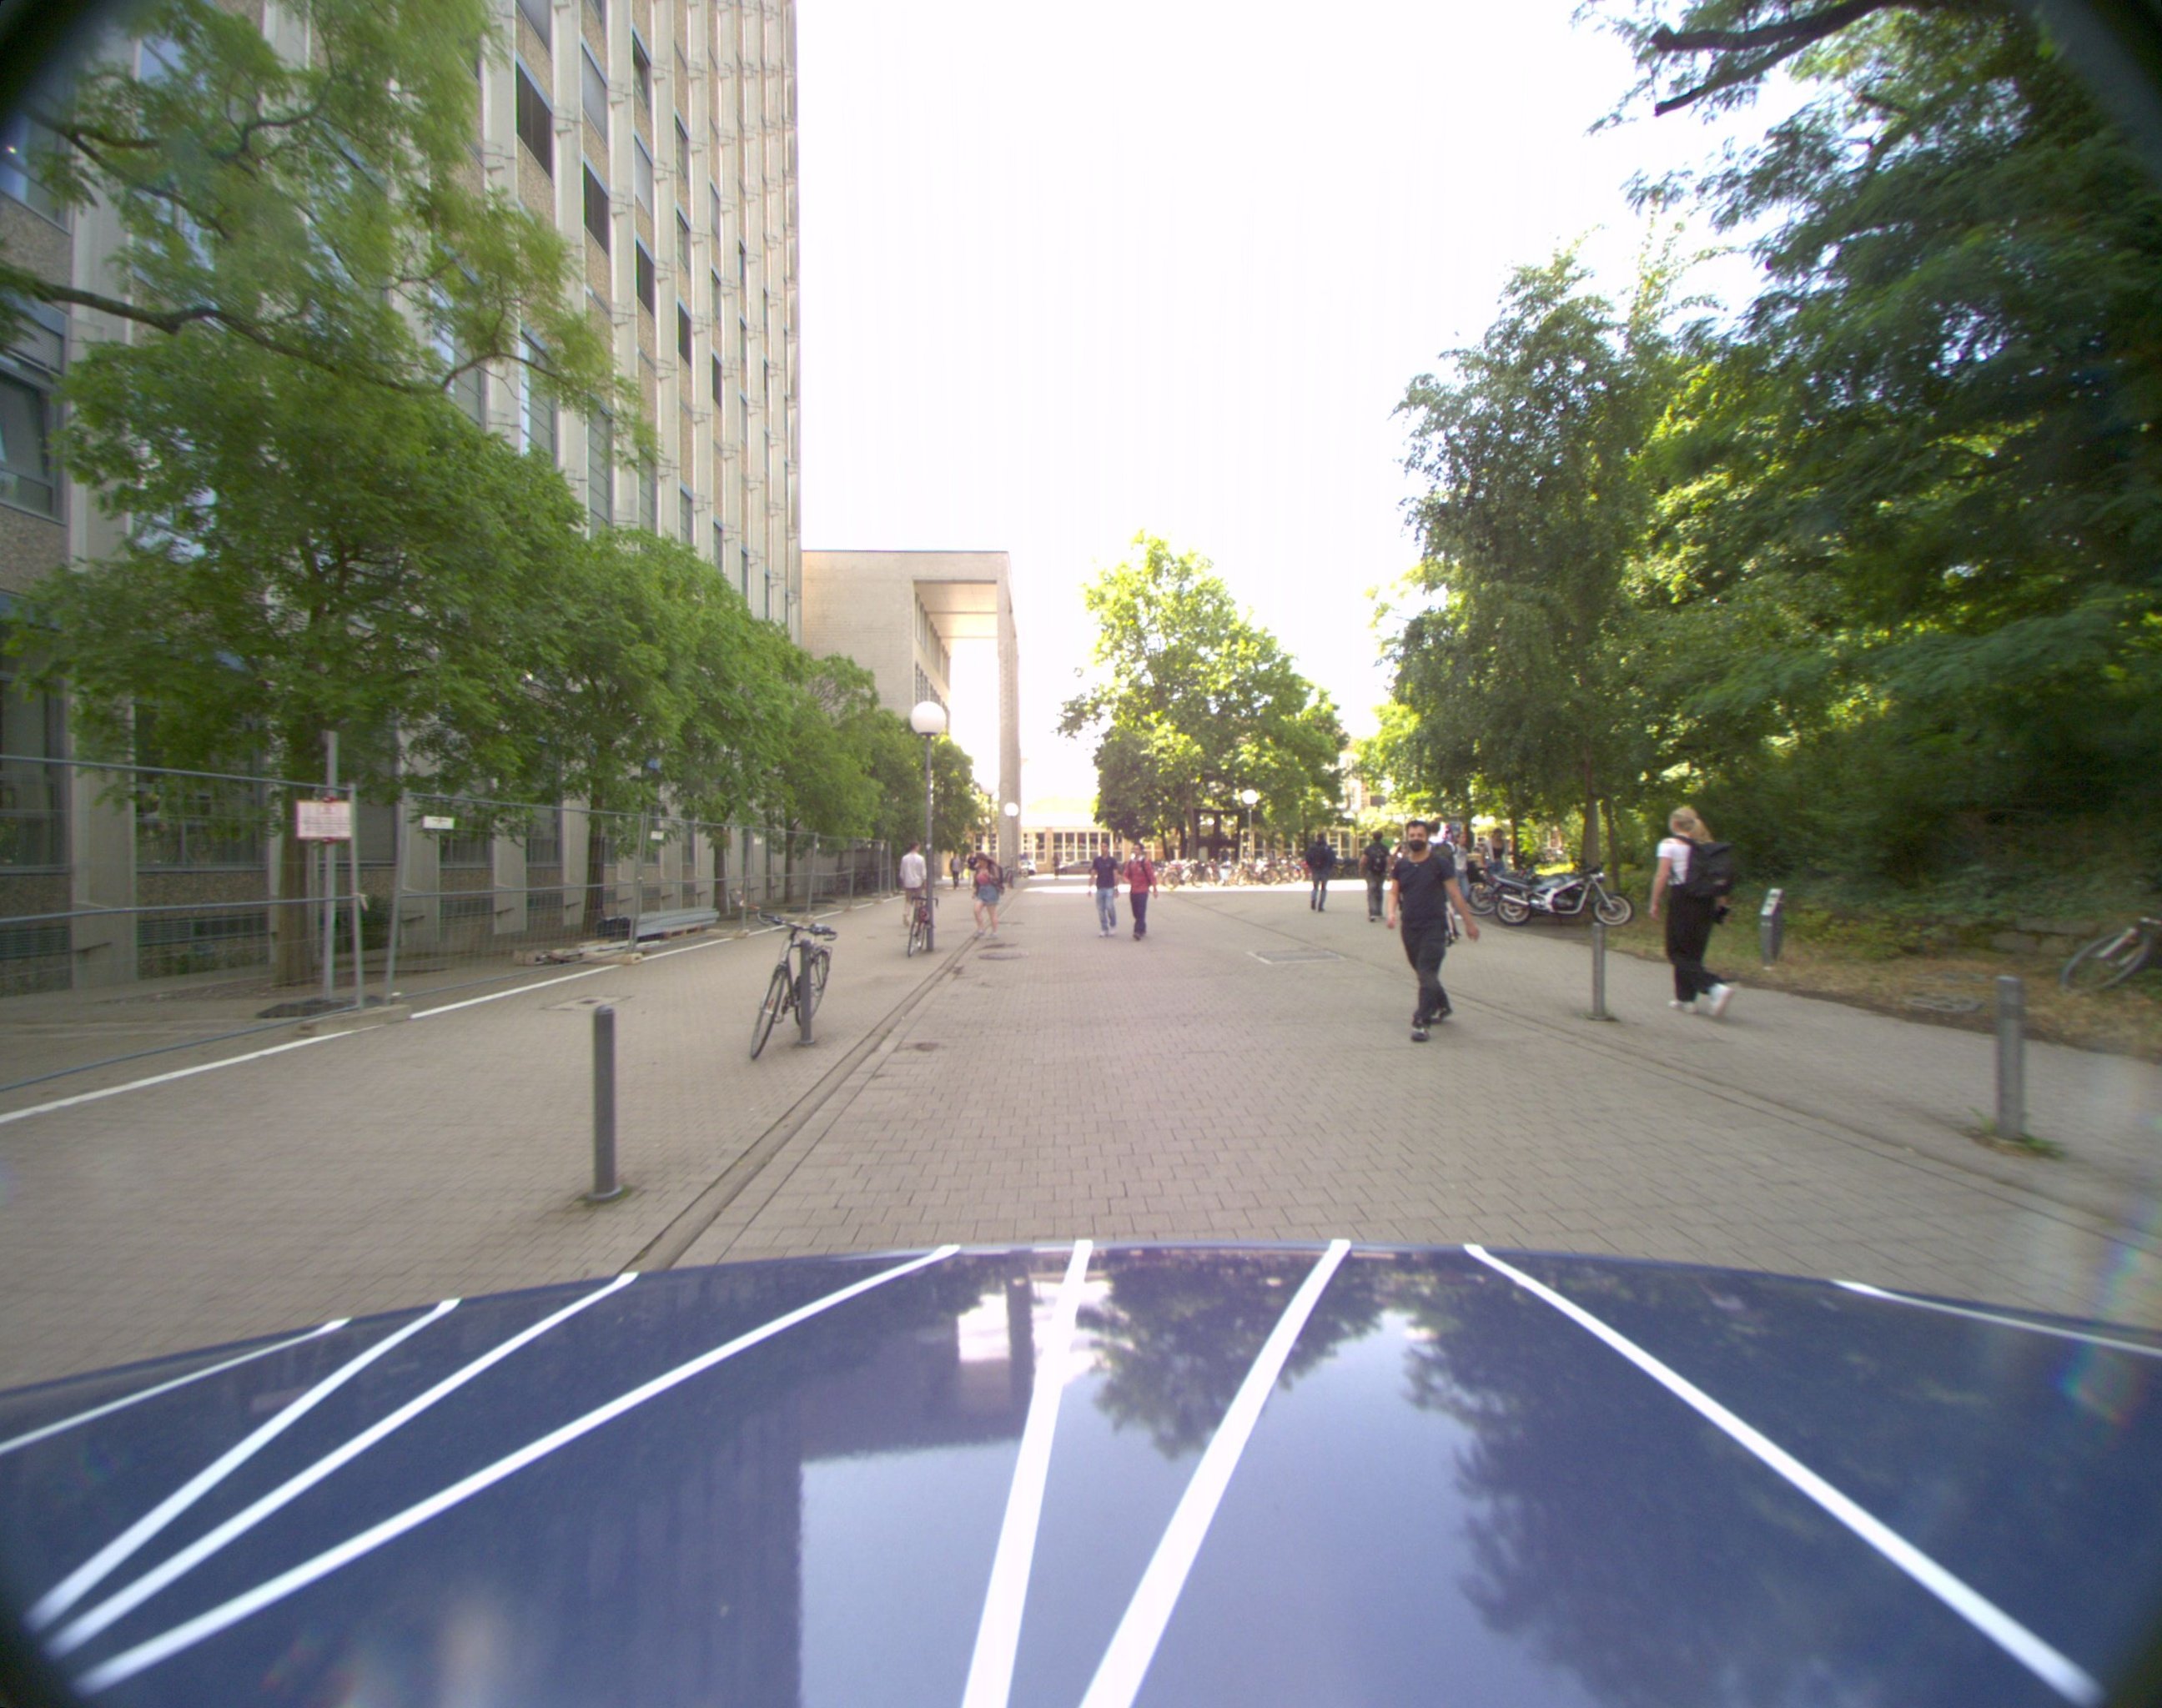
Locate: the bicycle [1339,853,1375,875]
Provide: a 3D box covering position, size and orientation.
[{"bbox_3d":[14.245,0.510,39.237,1.695,1.077,0.475,-1,1,41],"label":"bicycle"}]

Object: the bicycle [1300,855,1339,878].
[{"bbox_3d":[11.403,0.588,36.291,1.695,1.077,0.475,-1,1,33],"label":"bicycle"}]

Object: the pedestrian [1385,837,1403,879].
[{"bbox_3d":[13.871,0.166,33.676,0.612,1.825,1.052,-1,1,29],"label":"pedestrian"}]

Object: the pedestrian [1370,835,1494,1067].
[{"bbox_3d":[2.866,0.718,6.173,0.684,1.714,0.906,-2,1,38],"label":"pedestrian"}]

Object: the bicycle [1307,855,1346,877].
[{"bbox_3d":[12.026,0.593,37.219,1.695,1.077,0.475,-1,1,33],"label":"bicycle"}]

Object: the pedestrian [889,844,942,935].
[{"bbox_3d":[-3.532,0.729,16.168,0.787,1.834,1.115,-3,1,-26],"label":"pedestrian"}]

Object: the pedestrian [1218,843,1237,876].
[{"bbox_3d":[8.137,0.306,42.199,0.771,1.796,0.708,-2,1,-35],"label":"pedestrian"}]

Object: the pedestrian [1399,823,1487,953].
[{"bbox_3d":[5.494,0.480,11.591,0.726,1.871,1.081,-2,1,-6],"label":"pedestrian"}]

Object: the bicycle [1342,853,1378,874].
[{"bbox_3d":[14.567,0.481,39.662,1.695,1.077,0.475,-1,1,41],"label":"bicycle"}]

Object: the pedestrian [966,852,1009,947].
[{"bbox_3d":[-1.732,0.828,14.205,0.686,1.714,0.731,-2,1,-4],"label":"pedestrian"}]

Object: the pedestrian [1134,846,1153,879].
[{"bbox_3d":[3.165,0.426,38.511,0.768,1.670,0.908,-1,0,17],"label":"pedestrian"}]

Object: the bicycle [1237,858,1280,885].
[{"bbox_3d":[7.383,0.737,31.667,1.696,1.077,0.475,-1,1,18],"label":"bicycle"}]

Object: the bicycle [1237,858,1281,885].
[{"bbox_3d":[7.315,0.726,31.150,1.696,1.077,0.475,-1,1,18],"label":"bicycle"}]

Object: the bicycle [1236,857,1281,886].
[{"bbox_3d":[7.036,0.699,30.109,1.697,1.104,0.474,-1,1,10],"label":"bicycle"}]

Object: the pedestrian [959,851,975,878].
[{"bbox_3d":[-7.861,0.703,52.240,0.960,1.803,0.769,-2,1,-12],"label":"pedestrian"}]

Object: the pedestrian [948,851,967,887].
[{"bbox_3d":[-5.789,0.705,35.669,0.703,1.645,0.881,-1,0,-20],"label":"pedestrian"}]

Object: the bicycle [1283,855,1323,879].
[{"bbox_3d":[10.234,0.589,35.089,1.695,1.077,0.475,-1,1,33],"label":"bicycle"}]

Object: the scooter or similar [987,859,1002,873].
[{"bbox_3d":[-6.854,0.958,60.226,1.157,1.144,0.444,-1,0,3],"label":"scooter or similar"}]

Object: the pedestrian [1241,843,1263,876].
[{"bbox_3d":[8.950,0.306,39.761,0.904,1.693,0.771,-1,1,35],"label":"pedestrian"}]

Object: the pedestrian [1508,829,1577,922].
[{"bbox_3d":[8.834,0.402,14.564,0.679,1.714,0.935,-1,0,-38],"label":"pedestrian"}]

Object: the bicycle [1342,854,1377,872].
[{"bbox_3d":[14.777,0.470,40.385,0.453,0.956,1.735,-2,1,-41],"label":"bicycle"}]

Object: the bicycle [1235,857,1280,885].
[{"bbox_3d":[7.128,0.704,30.649,1.721,1.077,0.474,-1,1,13],"label":"bicycle"}]

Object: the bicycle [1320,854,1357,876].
[{"bbox_3d":[12.857,0.541,37.944,1.695,1.077,0.475,-1,1,33],"label":"bicycle"}]

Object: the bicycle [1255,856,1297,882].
[{"bbox_3d":[8.308,0.633,32.437,1.695,1.077,0.475,-1,1,39],"label":"bicycle"}]

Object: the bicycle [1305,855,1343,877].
[{"bbox_3d":[11.772,0.586,36.810,1.695,1.077,0.475,-1,1,33],"label":"bicycle"}]

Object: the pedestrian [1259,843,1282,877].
[{"bbox_3d":[9.788,0.311,39.211,0.904,1.693,0.771,-1,1,35],"label":"pedestrian"}]

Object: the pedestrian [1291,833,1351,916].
[{"bbox_3d":[5.579,0.469,17.680,1.034,1.847,0.886,-3,1,-44],"label":"pedestrian"}]

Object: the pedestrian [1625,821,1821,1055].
[{"bbox_3d":[5.159,0.621,6.171,0.684,1.718,1.001,-3,2,-6],"label":"pedestrian"}]

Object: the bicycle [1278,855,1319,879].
[{"bbox_3d":[9.782,0.589,34.176,1.695,1.077,0.475,-1,1,36],"label":"bicycle"}]

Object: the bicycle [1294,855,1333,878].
[{"bbox_3d":[10.968,0.603,35.859,1.695,1.077,0.475,-1,1,33],"label":"bicycle"}]

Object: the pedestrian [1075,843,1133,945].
[{"bbox_3d":[0.445,0.723,14.251,0.684,1.824,0.943,-1,0,32],"label":"pedestrian"}]

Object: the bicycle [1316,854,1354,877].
[{"bbox_3d":[12.524,0.578,37.528,1.695,1.077,0.475,-1,1,33],"label":"bicycle"}]

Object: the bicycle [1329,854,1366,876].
[{"bbox_3d":[13.595,0.547,38.787,1.695,1.077,0.475,-1,1,33],"label":"bicycle"}]

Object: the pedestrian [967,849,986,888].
[{"bbox_3d":[-4.887,0.679,35.500,0.703,1.792,0.881,-1,0,-20],"label":"pedestrian"}]

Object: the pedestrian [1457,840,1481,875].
[{"bbox_3d":[20.276,0.194,39.730,0.986,1.793,0.768,-2,1,-42],"label":"pedestrian"}]

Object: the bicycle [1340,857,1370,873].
[{"bbox_3d":[18.902,0.756,52.451,0.503,1.101,2.000,-2,1,-32],"label":"bicycle"}]

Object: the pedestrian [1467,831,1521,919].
[{"bbox_3d":[8.272,0.408,15.222,0.687,1.714,0.729,-1,0,-38],"label":"pedestrian"}]

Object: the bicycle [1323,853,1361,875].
[{"bbox_3d":[13.161,0.515,38.352,1.695,1.077,0.475,-1,1,33],"label":"bicycle"}]

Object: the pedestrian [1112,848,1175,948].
[{"bbox_3d":[1.135,0.761,13.683,0.717,1.714,1.067,-1,0,31],"label":"pedestrian"}]

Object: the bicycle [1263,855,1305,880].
[{"bbox_3d":[8.898,0.596,33.365,1.695,1.077,0.475,-1,1,39],"label":"bicycle"}]

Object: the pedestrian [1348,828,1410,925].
[{"bbox_3d":[5.974,0.429,15.272,0.684,1.862,1.120,-2,1,-6],"label":"pedestrian"}]
